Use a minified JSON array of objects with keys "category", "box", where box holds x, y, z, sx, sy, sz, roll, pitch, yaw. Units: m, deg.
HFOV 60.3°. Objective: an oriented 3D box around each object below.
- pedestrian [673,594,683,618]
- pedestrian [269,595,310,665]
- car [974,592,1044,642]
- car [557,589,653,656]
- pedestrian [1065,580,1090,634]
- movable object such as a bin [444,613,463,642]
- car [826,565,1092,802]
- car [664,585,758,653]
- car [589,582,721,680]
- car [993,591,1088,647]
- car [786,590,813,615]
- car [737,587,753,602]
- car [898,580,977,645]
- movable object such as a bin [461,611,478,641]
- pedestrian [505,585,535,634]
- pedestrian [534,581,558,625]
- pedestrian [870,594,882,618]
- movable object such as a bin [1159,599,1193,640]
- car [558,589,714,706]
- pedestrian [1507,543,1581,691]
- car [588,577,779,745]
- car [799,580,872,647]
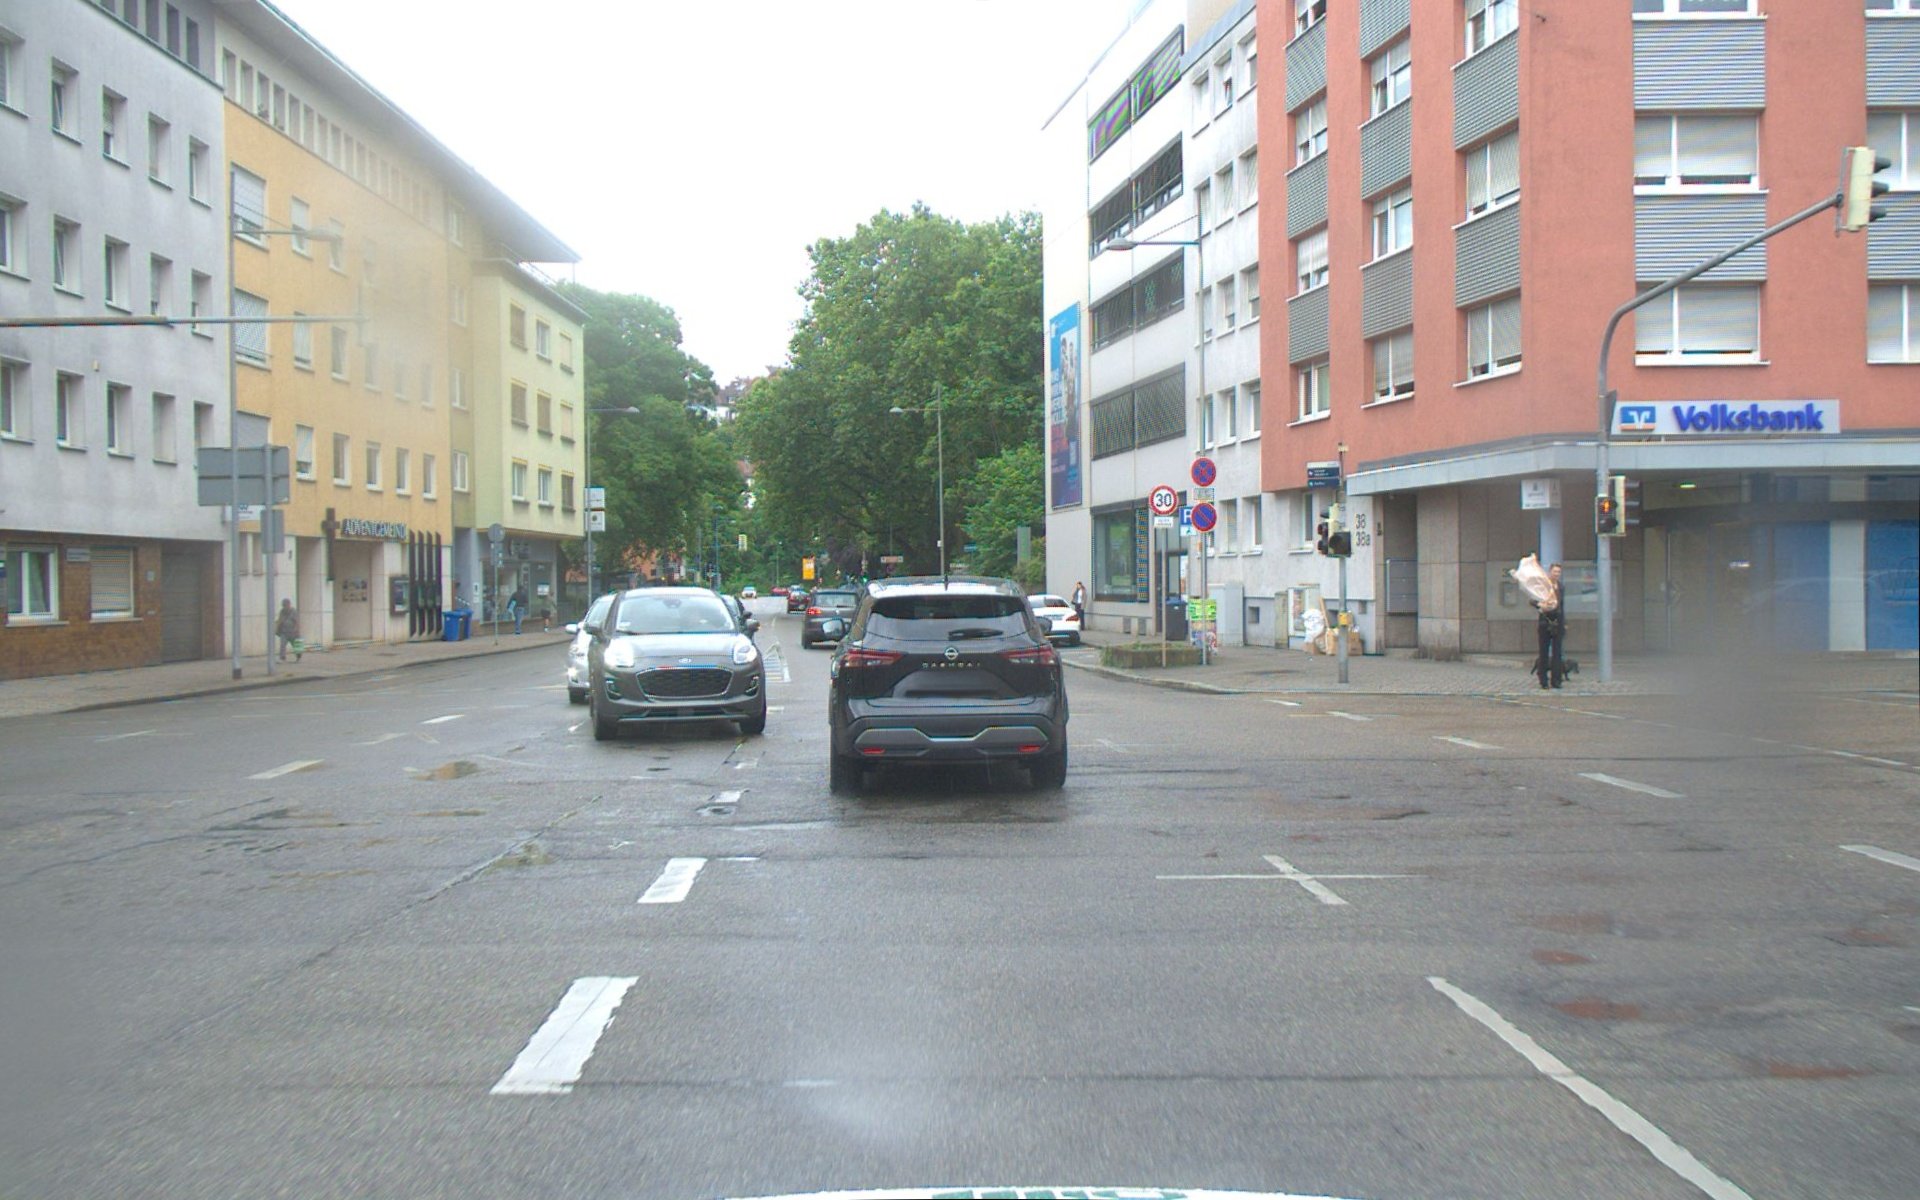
[{"category":"pedestrian","box":[-21.740,0.477,127.383,0.655,1.822,0.719,1,0,-14]},{"category":"pedestrian","box":[-15.862,0.699,39.143,0.672,1.609,0.652,2,0,0]},{"category":"car","box":[1.547,0.526,53.444,1.682,1.467,4.077,-3,1,-6]},{"category":"car","box":[-9.396,0.602,44.098,1.784,1.668,4.370,-1,-1,-3]},{"category":"pedestrian","box":[3.948,0.230,55.560,0.602,1.767,0.679,-2,0,-14]},{"category":"movable object such as a bin","box":[-16.715,0.898,54.608,0.444,0.946,0.502,-1,0,0]},{"category":"car","box":[-0.160,0.579,13.641,1.857,1.657,3.996,0,0,-5]},{"category":"car","box":[-5.727,0.446,38.536,1.785,1.458,4.395,-1,-1,-4]},{"category":"car","box":[-5.544,0.561,30.597,1.784,1.636,4.428,-1,-1,-3]},{"category":"car","box":[2.238,0.499,47.047,1.742,1.425,4.570,-2,1,-9]},{"category":"car","box":[-11.072,0.136,113.726,1.786,1.640,3.860,1,0,-6]},{"category":"car","box":[-27.073,-0.650,208.169,1.785,1.827,3.861,1,0,-5]},{"category":"car","box":[-0.755,0.394,51.568,1.909,1.848,3.992,-3,0,-8]},{"category":"movable object such as a bin","box":[-16.838,0.893,56.809,0.391,1.024,0.545,0,0,0]},{"category":"pedestrian","box":[-16.585,0.354,62.359,0.848,1.819,0.875,2,0,-1]},{"category":"pedestrian","box":[-16.359,0.129,65.372,0.783,1.718,0.816,-1,0,-8]},{"category":"pedestrian","box":[-6.717,0.478,132.182,0.709,1.822,0.665,1,0,42]},{"category":"movable object such as a bin","box":[5.899,0.525,45.229,0.700,1.087,0.781,-1,0,-13]},{"category":"car","box":[-4.729,0.678,24.651,1.897,1.553,4.129,-1,-1,-6]},{"category":"pedestrian","box":[8.862,0.256,25.140,0.808,2.196,0.769,1,0,-1]},{"category":"car","box":[-3.168,0.588,18.420,1.824,1.580,4.213,-2,1,-12]},{"category":"car","box":[-3.544,0.382,46.703,1.908,1.714,3.995,-3,0,-6]}]
